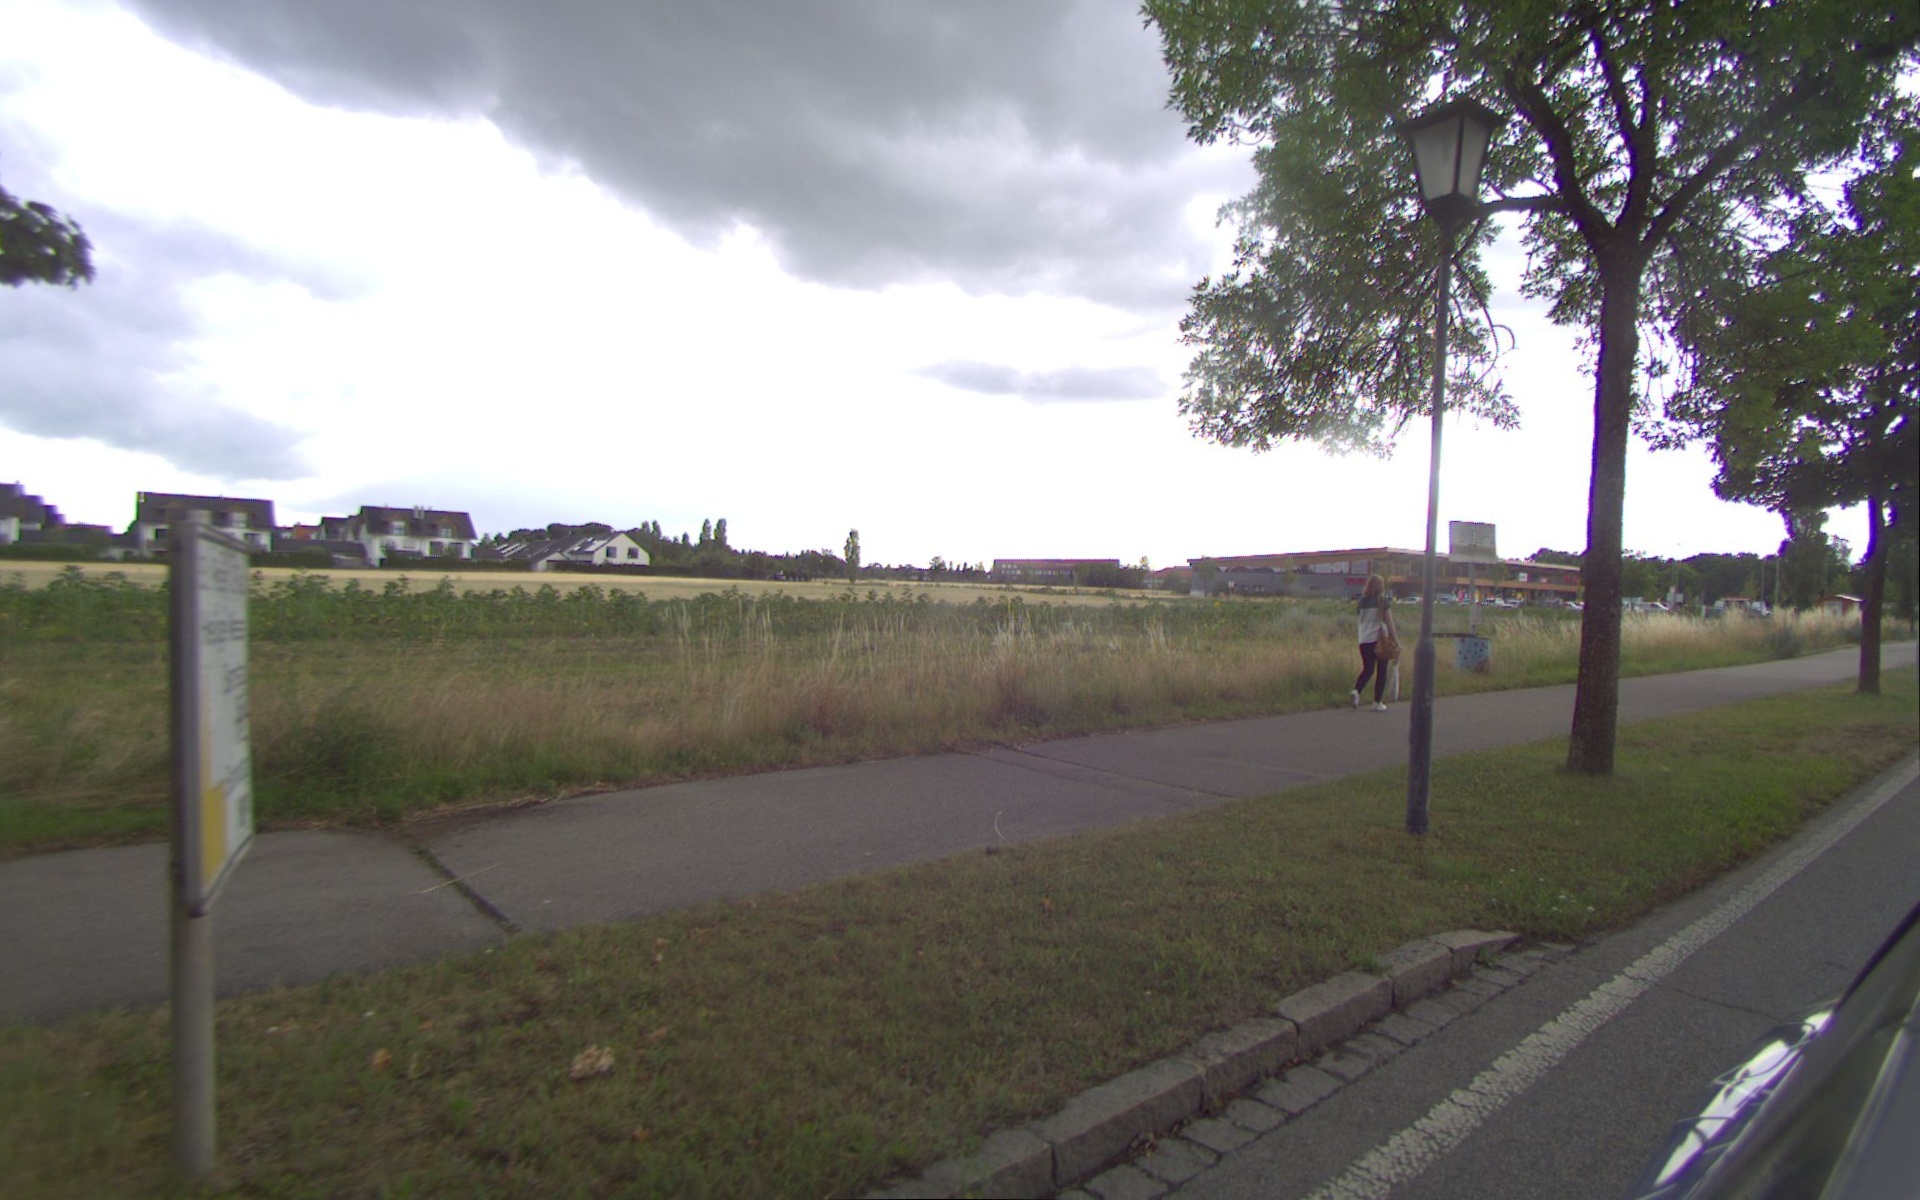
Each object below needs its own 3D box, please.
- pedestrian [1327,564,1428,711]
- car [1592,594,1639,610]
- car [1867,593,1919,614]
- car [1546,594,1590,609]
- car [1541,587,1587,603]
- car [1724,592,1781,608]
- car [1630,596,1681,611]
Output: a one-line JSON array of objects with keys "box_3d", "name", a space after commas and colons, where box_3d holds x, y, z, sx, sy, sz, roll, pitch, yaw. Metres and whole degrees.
[{"box_3d": [5.302, 0.449, 12.857, 0.853, 1.777, 0.840, 1, 0, -34], "name": "pedestrian"}, {"box_3d": [85.497, 0.198, 132.007, 4.843, 2.039, 1.968, 0, 0, 44], "name": "car"}, {"box_3d": [93.544, 0.311, 100.172, 1.967, 2.039, 5.513, 0, 0, -45], "name": "car"}, {"box_3d": [83.670, 0.172, 139.247, 4.843, 2.039, 1.968, 0, 0, 44], "name": "car"}, {"box_3d": [79.952, -0.668, 133.987, 4.843, 2.039, 1.968, 0, 0, 44], "name": "car"}, {"box_3d": [100.847, -0.042, 128.874, 1.967, 2.039, 5.513, 0, 0, -45], "name": "car"}, {"box_3d": [96.988, 0.415, 141.161, 1.967, 2.039, 5.513, 0, 0, -45], "name": "car"}]
